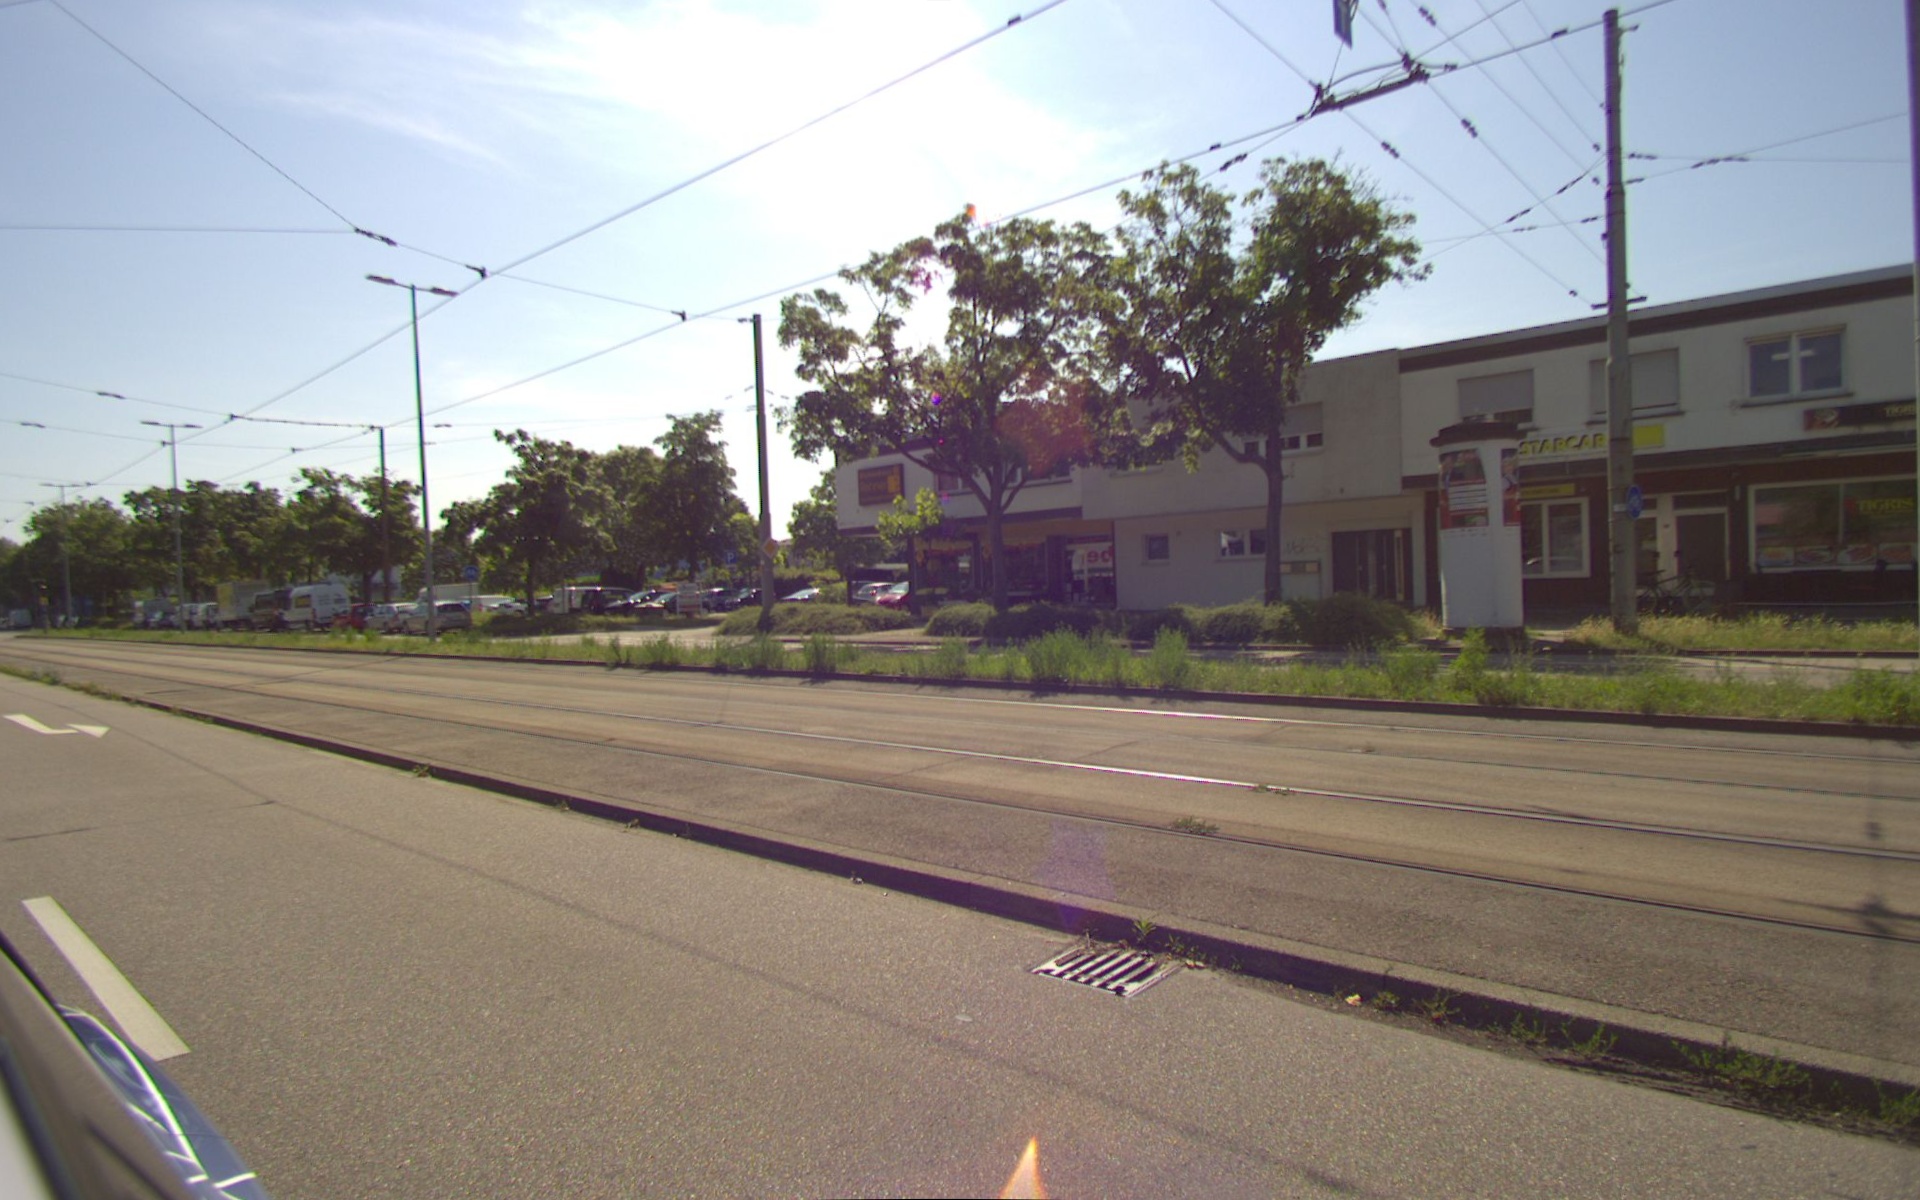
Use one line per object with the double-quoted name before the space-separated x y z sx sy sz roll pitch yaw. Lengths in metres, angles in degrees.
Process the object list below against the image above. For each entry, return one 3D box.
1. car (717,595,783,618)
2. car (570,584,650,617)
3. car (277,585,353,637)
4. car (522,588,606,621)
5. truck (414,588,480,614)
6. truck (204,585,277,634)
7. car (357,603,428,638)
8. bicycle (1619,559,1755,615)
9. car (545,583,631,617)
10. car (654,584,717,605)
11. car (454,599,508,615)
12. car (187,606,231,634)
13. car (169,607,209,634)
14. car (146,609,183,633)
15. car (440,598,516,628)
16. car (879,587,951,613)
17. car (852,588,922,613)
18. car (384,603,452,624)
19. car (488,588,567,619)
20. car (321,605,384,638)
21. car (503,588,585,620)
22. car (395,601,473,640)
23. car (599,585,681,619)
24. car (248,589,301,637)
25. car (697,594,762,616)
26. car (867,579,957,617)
"car" -14.214 0.428 68.696 1.676 1.345 4.197 -2 1 42
"car" -19.180 0.000 55.593 1.676 1.646 3.761 -2 1 43
"car" -36.144 0.642 56.653 5.201 2.673 2.036 -2 4 41
"car" -22.949 0.232 58.770 1.988 1.751 4.068 -2 1 38
"truck" -51.750 0.105 102.226 1.988 2.398 5.584 -2 1 38
"truck" -47.412 0.637 66.651 5.902 2.956 2.476 -1 4 42
"car" -28.037 1.027 49.970 4.255 1.544 1.654 -2 4 41
"bicycle" 15.745 -0.257 21.965 2.333 1.161 0.779 -1 -1 42
"car" -21.005 -0.011 57.254 1.988 1.751 4.068 -2 1 38
"car" -19.979 -0.429 73.826 1.674 1.345 4.201 -2 1 39
"car" -44.818 0.635 94.756 1.676 1.345 4.198 -2 1 42
"car" -53.617 1.403 72.229 4.631 1.817 1.483 -2 4 41
"car" -58.583 1.572 76.869 4.056 1.859 1.484 -2 4 40
"car" -63.295 1.680 80.499 3.685 1.799 1.484 -2 4 40
"car" -32.201 0.853 67.529 5.739 1.825 2.560 -2 1 42
"car" -2.559 -0.013 58.521 1.676 1.345 4.197 -2 1 42
"car" -4.352 0.031 60.845 1.676 1.345 4.197 -2 1 42
"car" -40.961 1.000 76.552 1.676 1.345 4.198 -2 1 42
"car" -26.933 0.230 63.106 1.988 1.751 4.068 -2 1 38
"car" -32.052 1.118 53.350 3.791 1.544 1.654 -2 4 41
"car" -24.816 0.219 60.446 1.988 1.751 4.068 -2 1 38
"car" -24.120 0.944 46.378 4.255 1.544 1.654 -2 4 41
"car" -16.880 0.105 53.529 1.676 1.646 3.761 -2 1 43
"car" -41.125 0.786 60.665 4.005 2.643 1.483 -2 4 41
"car" -16.091 0.310 70.735 1.676 1.345 4.197 -2 1 42
"car" -2.191 -0.118 47.044 1.676 1.616 4.197 -2 1 42
